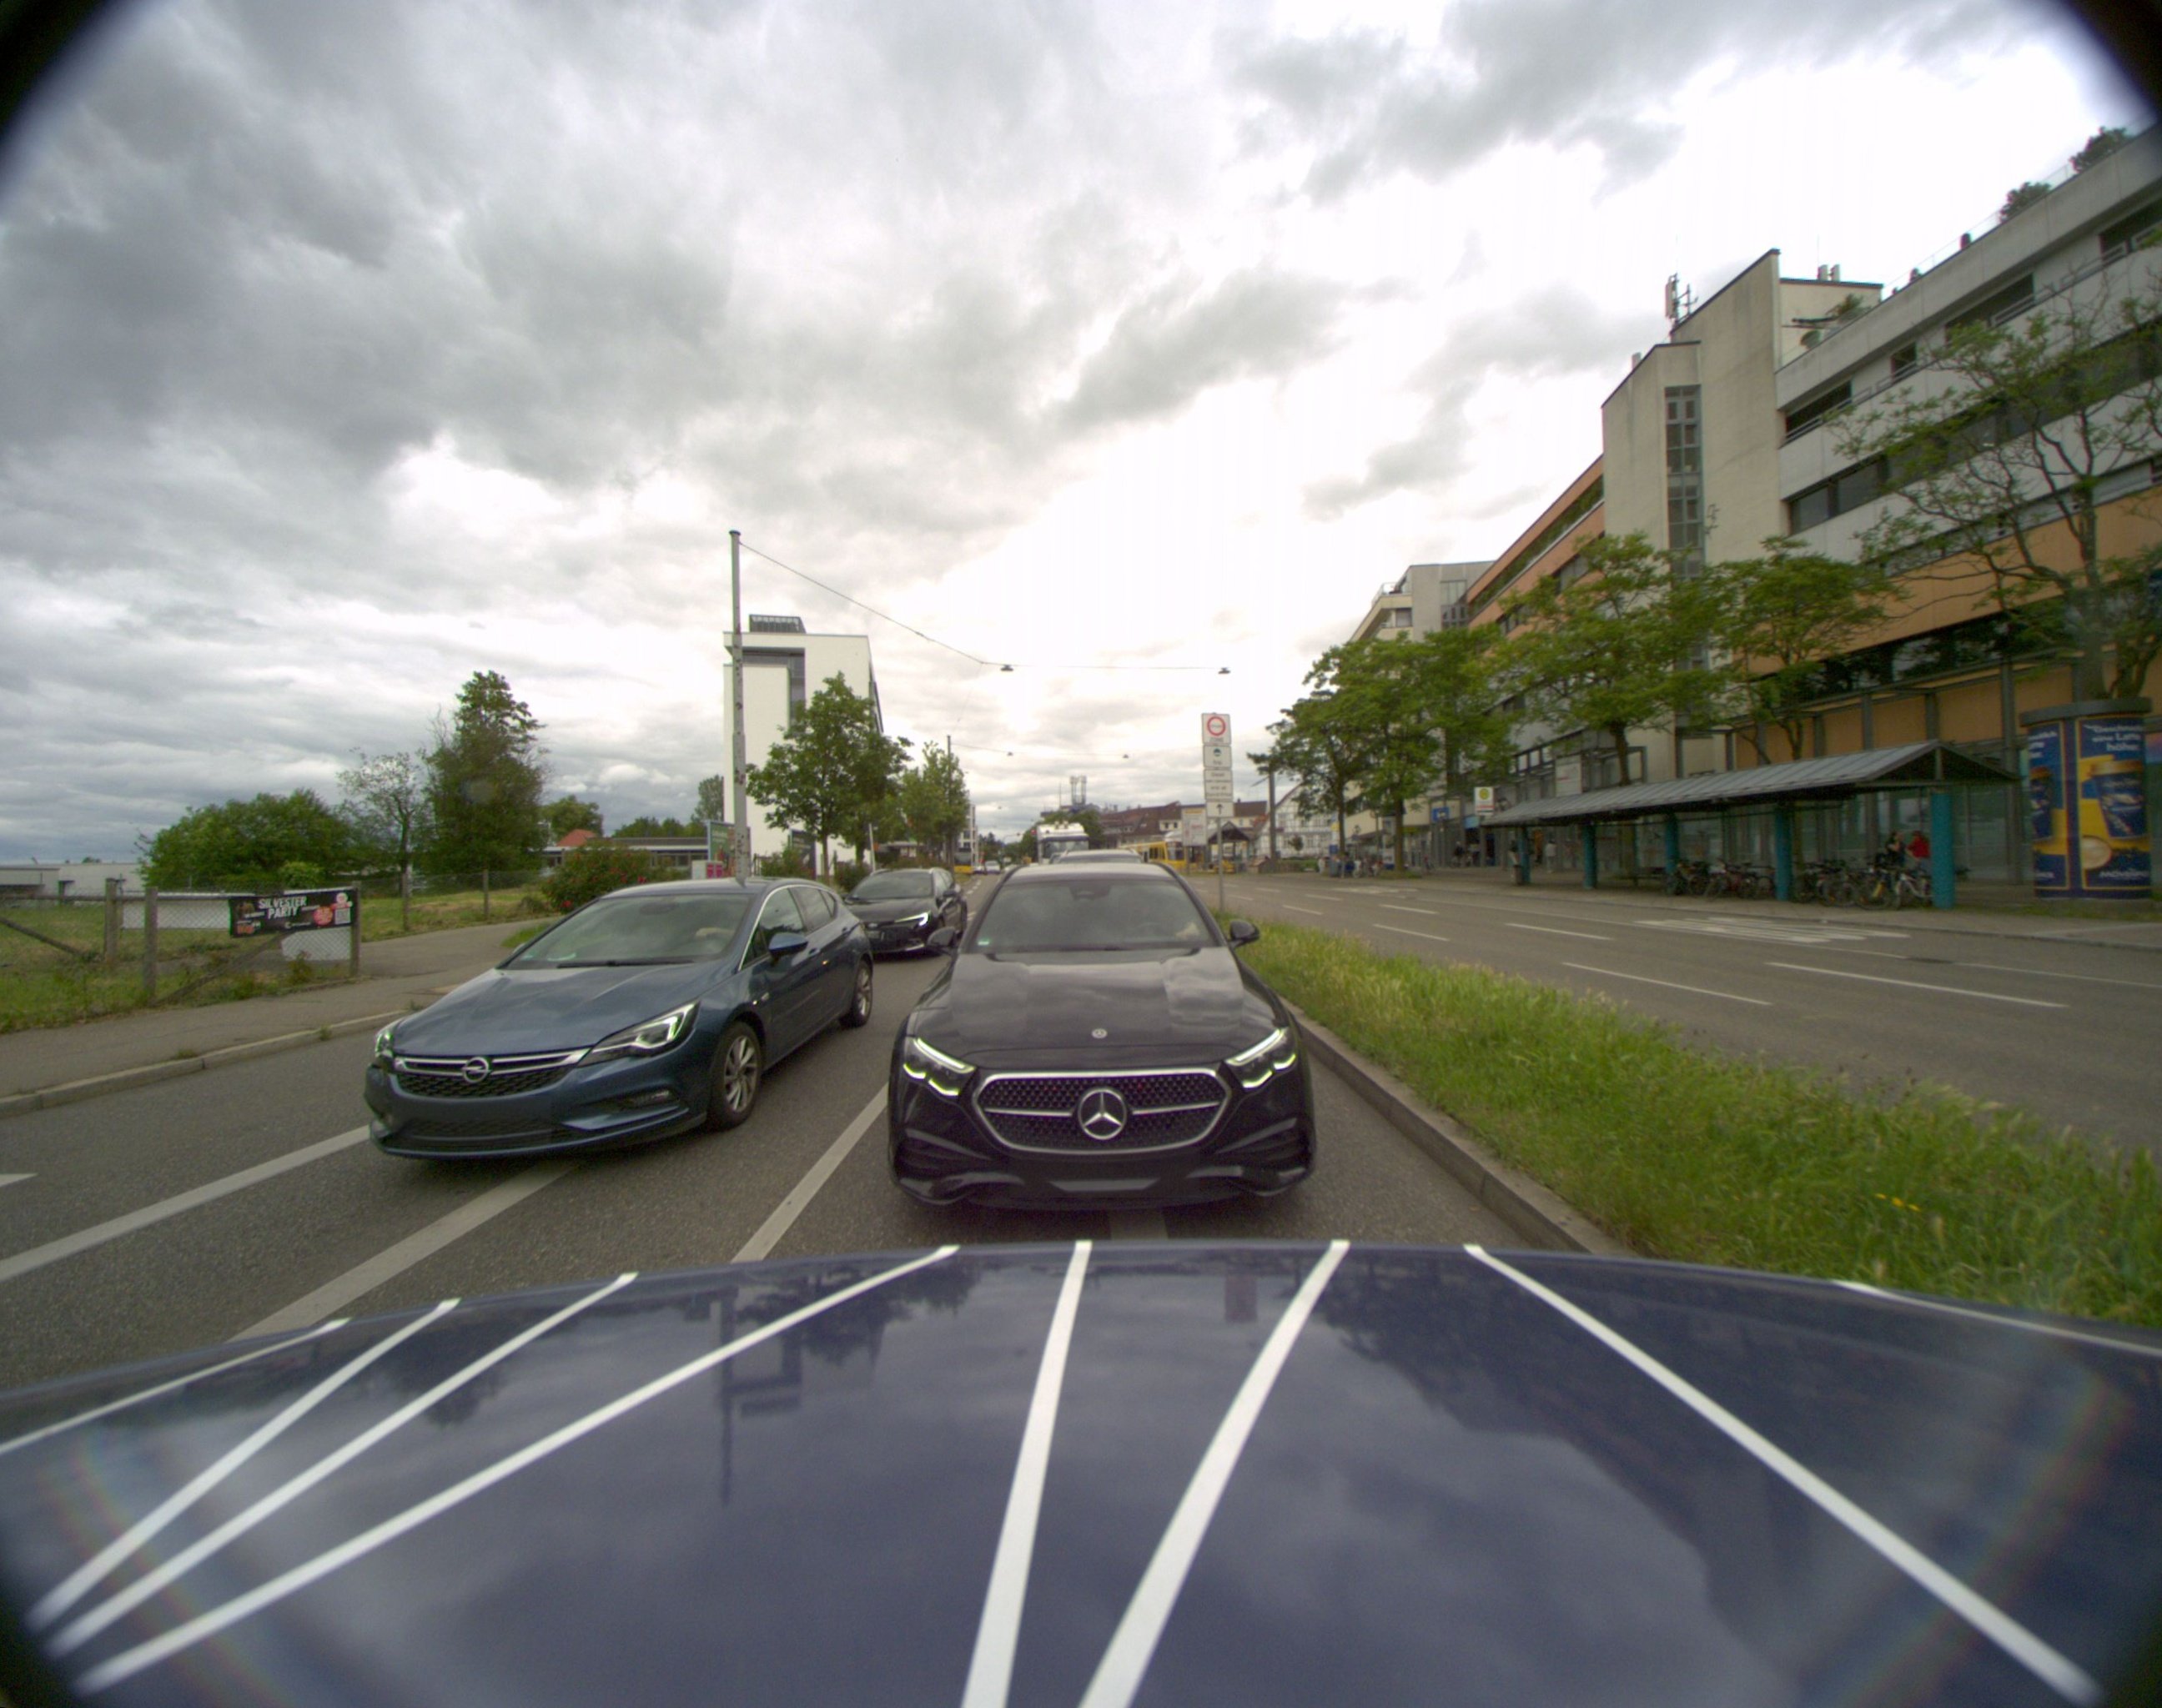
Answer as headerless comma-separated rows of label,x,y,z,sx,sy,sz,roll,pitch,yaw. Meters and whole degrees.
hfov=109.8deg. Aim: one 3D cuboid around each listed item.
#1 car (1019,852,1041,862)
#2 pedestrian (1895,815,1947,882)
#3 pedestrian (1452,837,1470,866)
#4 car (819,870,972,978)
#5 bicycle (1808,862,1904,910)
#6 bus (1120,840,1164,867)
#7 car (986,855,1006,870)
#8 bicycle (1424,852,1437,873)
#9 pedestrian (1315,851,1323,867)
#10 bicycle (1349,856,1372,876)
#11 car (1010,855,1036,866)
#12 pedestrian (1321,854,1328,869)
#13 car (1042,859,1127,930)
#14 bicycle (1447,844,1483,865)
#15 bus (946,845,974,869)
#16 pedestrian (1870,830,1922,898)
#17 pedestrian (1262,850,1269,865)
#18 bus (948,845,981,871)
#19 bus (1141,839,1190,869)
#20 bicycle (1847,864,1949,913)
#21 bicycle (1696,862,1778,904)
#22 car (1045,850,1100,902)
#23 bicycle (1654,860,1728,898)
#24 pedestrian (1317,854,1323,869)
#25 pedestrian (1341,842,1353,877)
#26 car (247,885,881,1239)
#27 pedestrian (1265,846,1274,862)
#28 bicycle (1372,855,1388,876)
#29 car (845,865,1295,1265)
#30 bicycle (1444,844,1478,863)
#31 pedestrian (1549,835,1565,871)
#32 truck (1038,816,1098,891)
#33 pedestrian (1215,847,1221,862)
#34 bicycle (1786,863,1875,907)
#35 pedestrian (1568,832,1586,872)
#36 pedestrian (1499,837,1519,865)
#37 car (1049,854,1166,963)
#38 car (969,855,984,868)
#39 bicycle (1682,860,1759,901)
car,-9.445,0.599,140.584,2.004,1.811,3.988,-1,1,-44
pedestrian,25.876,-0.165,23.421,0.710,2.002,0.793,-2,1,-10
pedestrian,24.328,-0.139,48.610,0.765,1.835,0.752,-1,1,1
car,-3.029,1.084,13.224,1.665,1.448,3.921,-2,0,0
bicycle,18.625,0.750,18.276,1.735,1.035,0.549,-3,1,-2
bus,6.934,-0.085,87.943,2.556,2.966,9.790,-1,0,-11
car,-10.079,1.007,90.003,1.853,1.606,3.779,-3,0,-13
bicycle,19.486,0.467,42.378,0.593,1.119,2.040,0,1,24
pedestrian,22.411,0.464,71.554,0.577,1.533,0.583,-1,1,-8
bicycle,15.478,0.653,42.010,0.593,1.071,2.041,0,1,38
car,-9.832,1.150,128.569,4.006,1.811,1.995,-1,1,-28
pedestrian,18.956,0.562,59.164,0.341,1.172,0.369,-1,1,-9
car,0.044,0.910,18.902,1.865,1.520,3.999,-1,0,-1
bicycle,26.993,0.029,53.393,2.139,1.367,0.620,-2,1,18
bus,-15.222,0.346,95.043,2.969,2.616,12.911,-2,1,-11
pedestrian,21.670,0.268,20.219,0.531,1.776,0.770,-1,1,-7
pedestrian,19.066,0.375,78.527,0.577,1.533,0.583,-1,1,-8
bus,-12.817,0.391,82.720,2.969,2.616,12.137,-2,1,-11
bus,8.699,0.004,79.008,2.556,2.966,8.498,-1,0,-11
bicycle,18.684,0.782,17.391,1.735,1.035,0.549,-2,1,-2
bicycle,17.947,0.788,20.803,1.735,1.035,0.549,-3,1,-2
car,-0.367,0.743,28.338,1.865,1.773,3.999,-1,0,-2
bicycle,18.204,0.746,22.696,1.735,1.035,0.549,-3,1,-2
pedestrian,18.566,0.578,59.076,0.341,1.172,0.369,-1,1,-9
pedestrian,17.617,0.380,50.295,0.590,2.294,0.608,-1,1,-2
car,-2.914,1.049,5.520,1.826,1.402,4.000,-2,0,0
pedestrian,23.080,-0.007,92.893,0.879,2.002,1.010,-1,1,6
bicycle,16.401,0.621,41.639,0.593,1.071,2.041,0,1,29
car,-0.054,0.883,5.183,1.793,1.507,4.249,-1,0,0
bicycle,27.756,-0.029,55.544,2.138,1.358,0.620,-2,1,26
pedestrian,24.098,-0.050,38.481,0.648,1.799,0.761,0,1,34
truck,-0.767,-0.044,36.717,2.490,3.258,7.428,-1,0,-4
pedestrian,18.573,0.111,102.890,0.742,2.002,0.939,-1,1,11
bicycle,19.024,0.773,19.301,1.735,1.035,0.549,-2,1,-2
pedestrian,25.518,-0.110,39.102,0.566,2.002,0.611,-1,1,6
pedestrian,25.351,-0.168,44.969,0.765,1.673,0.752,-1,1,1
car,0.392,0.819,13.475,1.734,1.601,4.000,-2,0,0
car,-16.130,1.163,117.362,1.853,1.875,4.132,-3,0,-13
bicycle,18.283,0.742,21.736,1.735,1.035,0.549,-4,1,-2
